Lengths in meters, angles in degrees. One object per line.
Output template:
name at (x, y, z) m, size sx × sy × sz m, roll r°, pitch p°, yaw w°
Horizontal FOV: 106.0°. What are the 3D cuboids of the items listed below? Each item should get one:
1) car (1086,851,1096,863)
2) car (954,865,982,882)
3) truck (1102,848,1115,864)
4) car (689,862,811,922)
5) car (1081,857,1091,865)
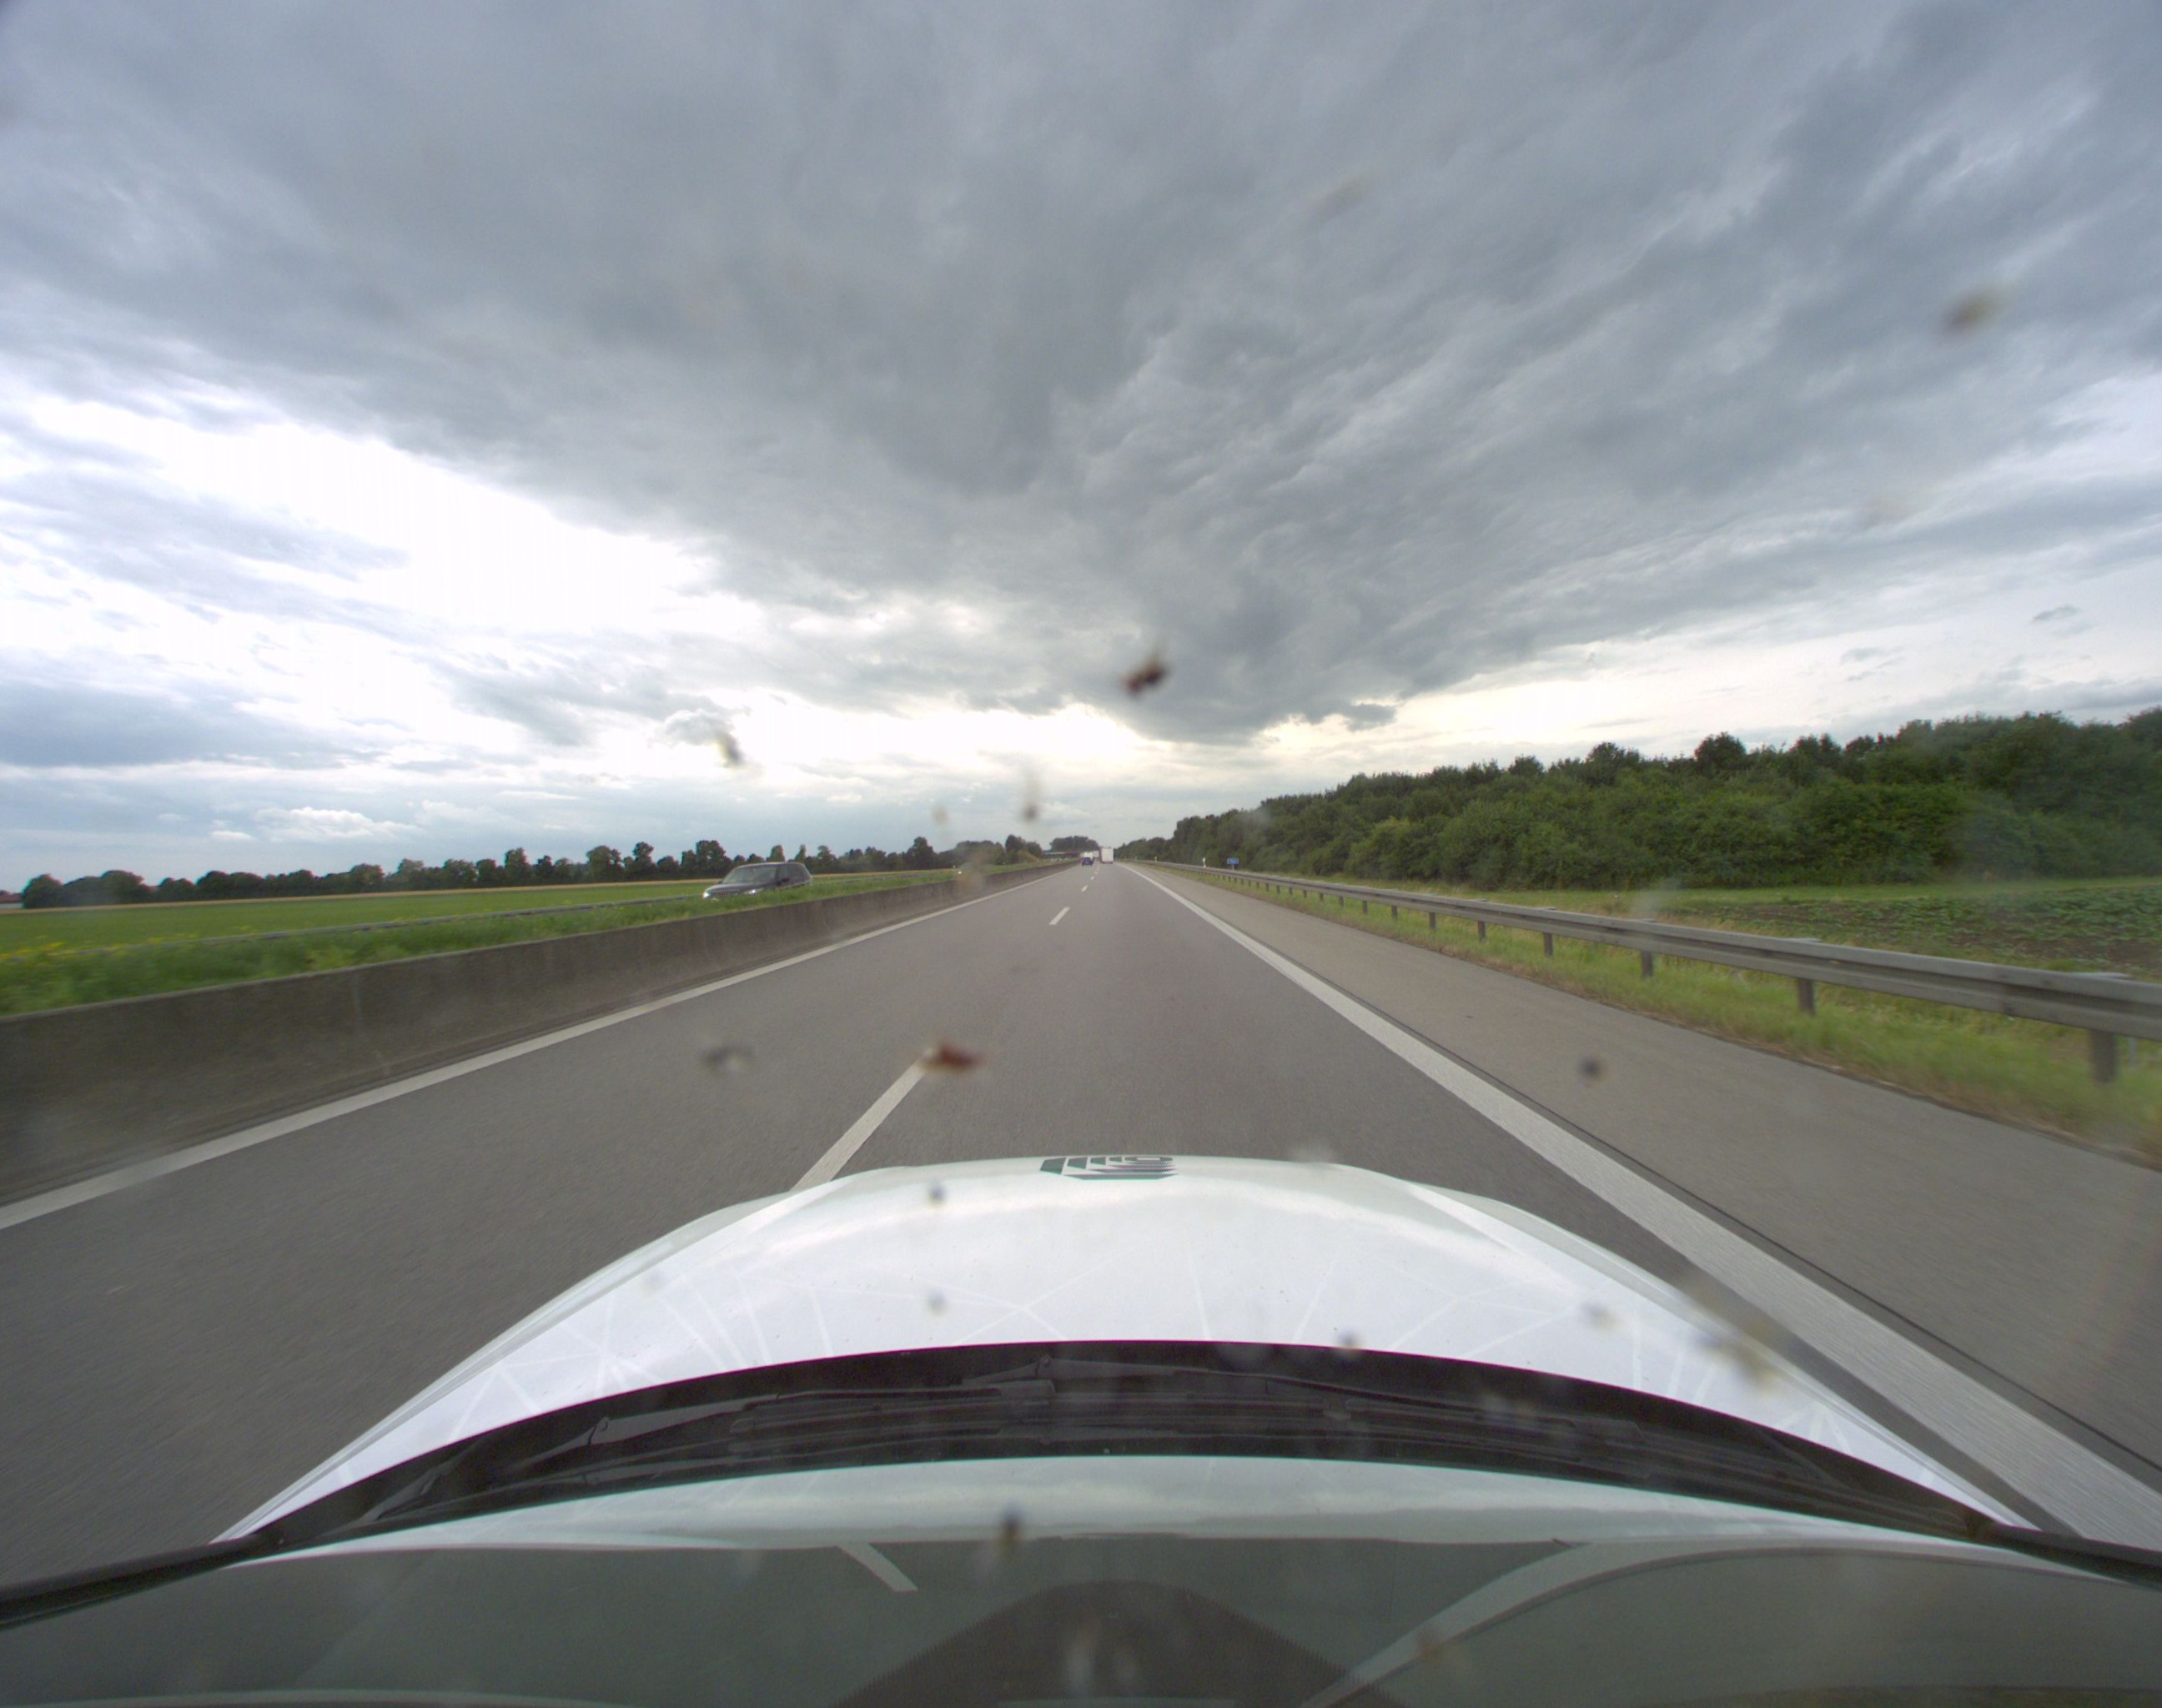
car at (2.217, 0.746, 177.830) m, size 2.122 × 2.483 × 5.840 m, roll -2°, pitch -1°, yaw 1°
car at (-10.822, 1.860, 78.178) m, size 1.783 × 1.472 × 4.906 m, roll -4°, pitch 0°, yaw 1°
truck at (5.804, 0.515, 172.530) m, size 2.407 × 3.222 × 7.144 m, roll -1°, pitch -1°, yaw 1°
car at (-9.395, 1.021, 23.501) m, size 1.683 × 1.491 × 4.184 m, roll -2°, pitch 0°, yaw 1°
car at (0.787, 1.175, 135.527) m, size 1.658 × 1.407 × 3.647 m, roll -1°, pitch 0°, yaw -1°
